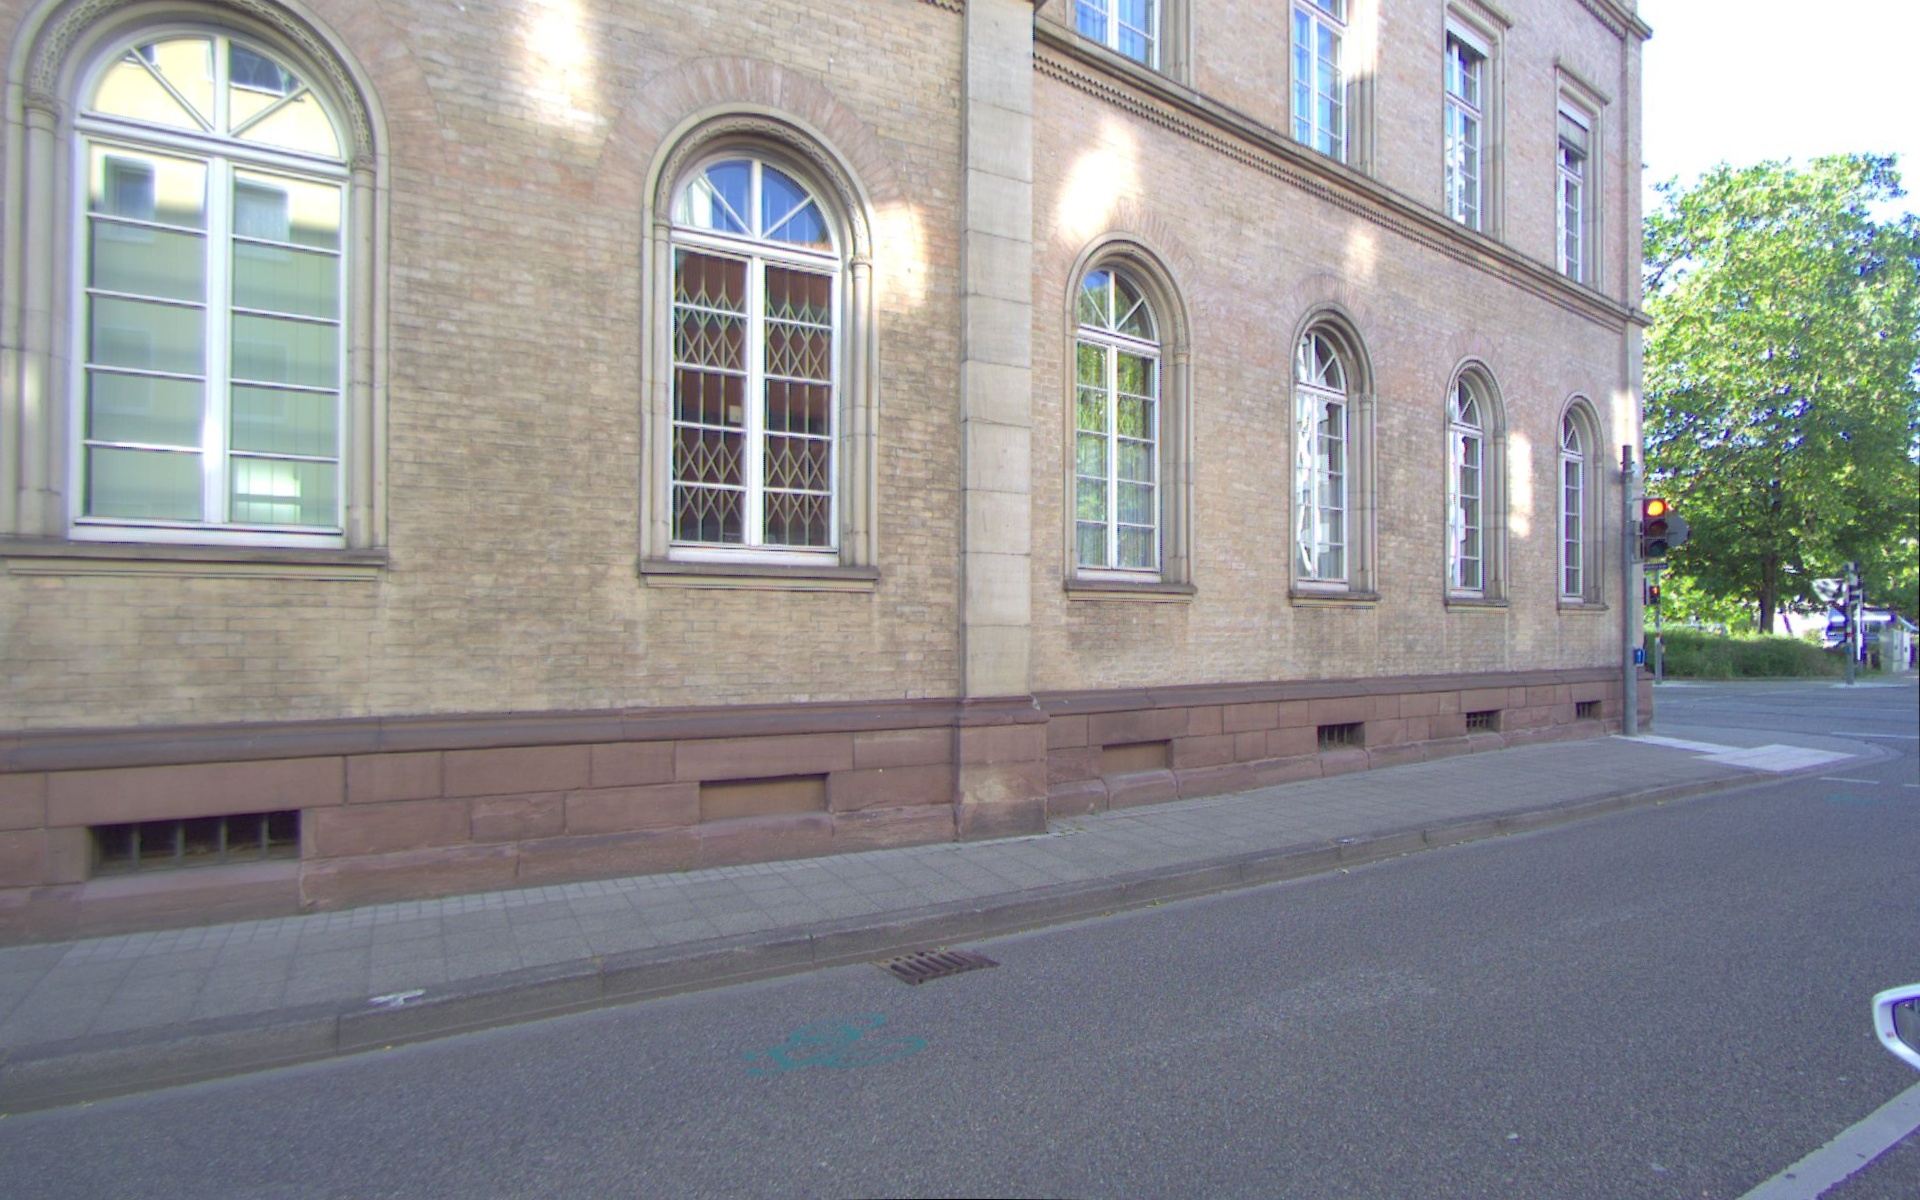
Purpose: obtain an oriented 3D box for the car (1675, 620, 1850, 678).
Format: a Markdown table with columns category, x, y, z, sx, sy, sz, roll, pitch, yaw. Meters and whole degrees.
| category | x | y | z | sx | sy | sz | roll | pitch | yaw |
| --- | --- | --- | --- | --- | --- | --- | --- | --- | --- |
| car | 26.356 | 1.555 | 33.107 | 1.888 | 1.801 | 4.193 | 1 | -2 | -37 |
